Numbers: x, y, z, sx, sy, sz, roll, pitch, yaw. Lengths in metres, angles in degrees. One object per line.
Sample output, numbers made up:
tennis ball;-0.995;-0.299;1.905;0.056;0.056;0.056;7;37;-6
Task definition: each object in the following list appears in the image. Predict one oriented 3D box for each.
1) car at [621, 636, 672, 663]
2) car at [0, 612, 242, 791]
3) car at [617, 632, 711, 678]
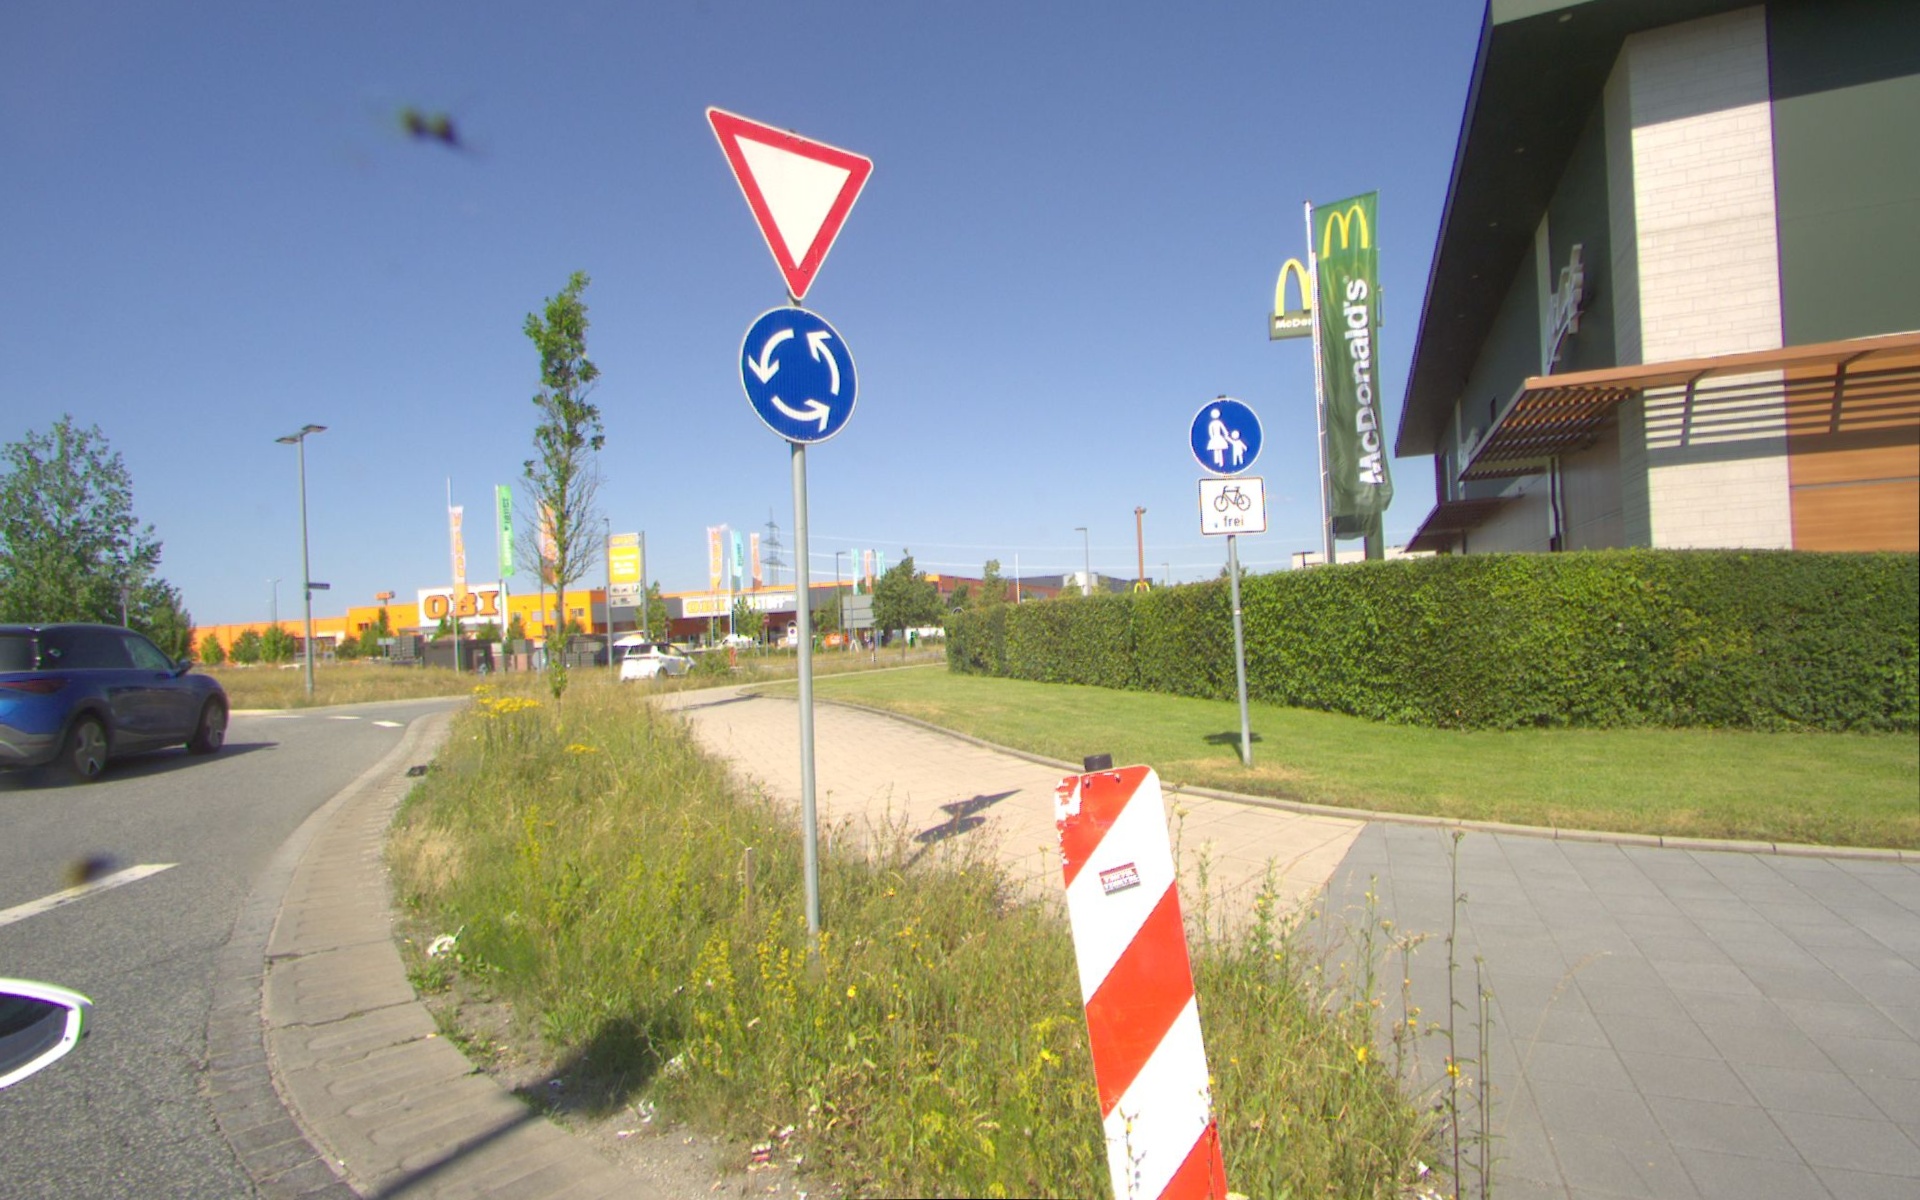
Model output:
car;-22.614;3.609;72.413;1.670;1.863;3.771;-3;-3;17
car;-9.933;1.013;11.122;1.823;1.656;4.076;-1;-2;-15
car;-10.407;1.915;35.420;1.488;1.459;3.344;-3;-1;19
